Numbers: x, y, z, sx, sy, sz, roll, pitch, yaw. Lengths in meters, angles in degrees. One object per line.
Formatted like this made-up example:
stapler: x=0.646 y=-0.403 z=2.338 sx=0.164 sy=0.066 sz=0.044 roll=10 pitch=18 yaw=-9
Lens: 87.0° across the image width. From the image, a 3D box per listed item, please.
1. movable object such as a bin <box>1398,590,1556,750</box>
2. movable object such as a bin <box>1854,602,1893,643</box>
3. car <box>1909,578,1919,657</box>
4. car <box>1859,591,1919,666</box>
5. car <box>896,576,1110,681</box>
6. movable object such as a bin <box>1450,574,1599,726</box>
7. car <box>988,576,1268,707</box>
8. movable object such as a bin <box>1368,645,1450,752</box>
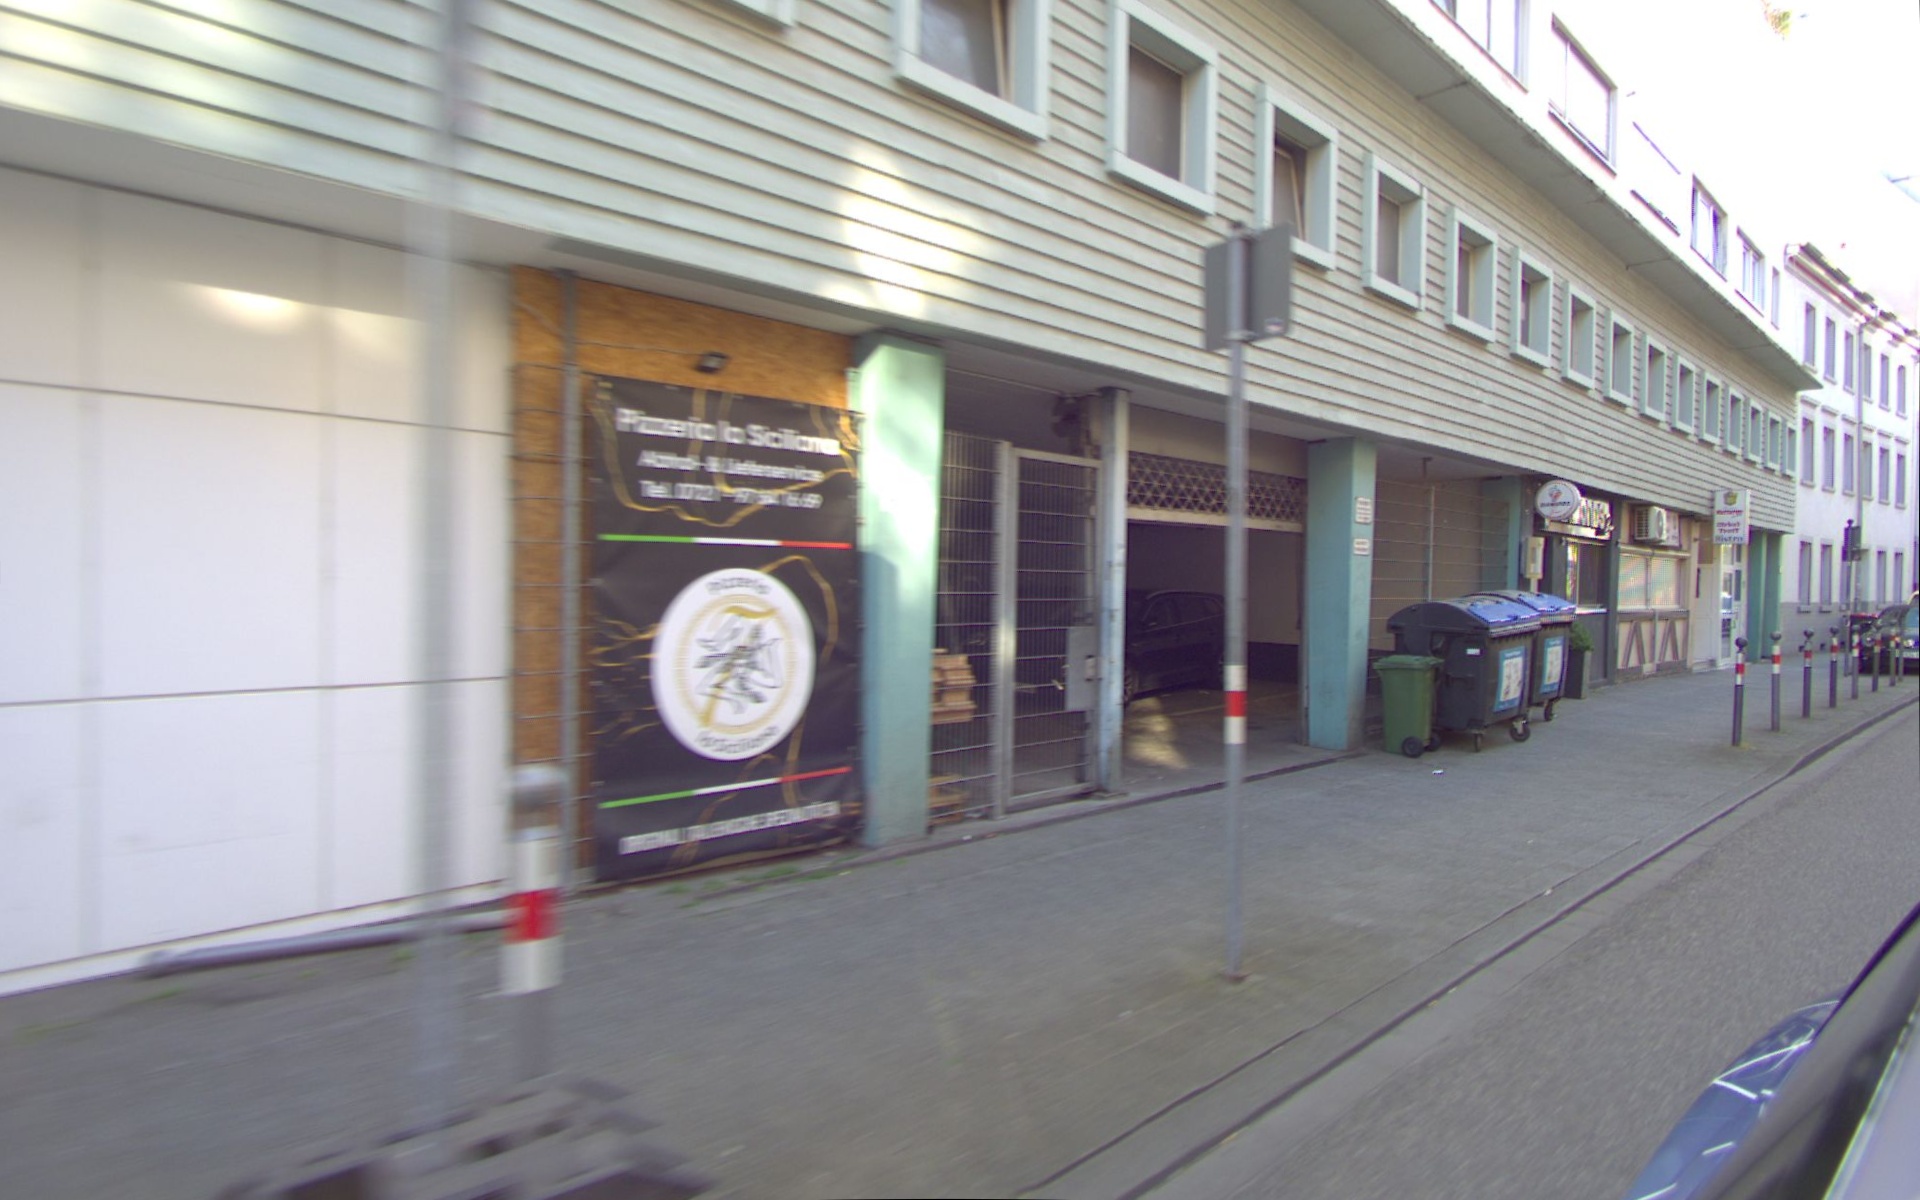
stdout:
movable object such as a bin: x=5.195 y=0.638 z=10.168 sx=1.298 sy=1.401 sz=0.983 roll=-3 pitch=4 yaw=-41
movable object such as a bin: x=25.180 y=0.609 z=27.899 sx=0.696 sy=1.063 sz=0.608 roll=0 pitch=6 yaw=-40
car: x=25.450 y=0.426 z=25.293 sx=4.758 sy=1.906 sz=1.887 roll=0 pitch=0 yaw=-39
car: x=21.056 y=0.574 z=21.881 sx=4.292 sy=1.508 sz=1.886 roll=0 pitch=0 yaw=-41
car: x=0.754 y=0.385 z=16.372 sx=3.343 sy=1.487 sz=1.584 roll=0 pitch=2 yaw=-44
movable object such as a bin: x=6.323 y=0.497 z=11.319 sx=1.525 sy=1.497 sz=0.983 roll=-3 pitch=4 yaw=-41
car: x=2.495 y=0.451 z=14.319 sx=1.828 sy=1.450 sz=4.213 roll=3 pitch=4 yaw=44
movable object such as a bin: x=4.328 y=0.931 z=9.761 sx=0.514 sy=0.910 sz=0.557 roll=-3 pitch=4 yaw=-41
